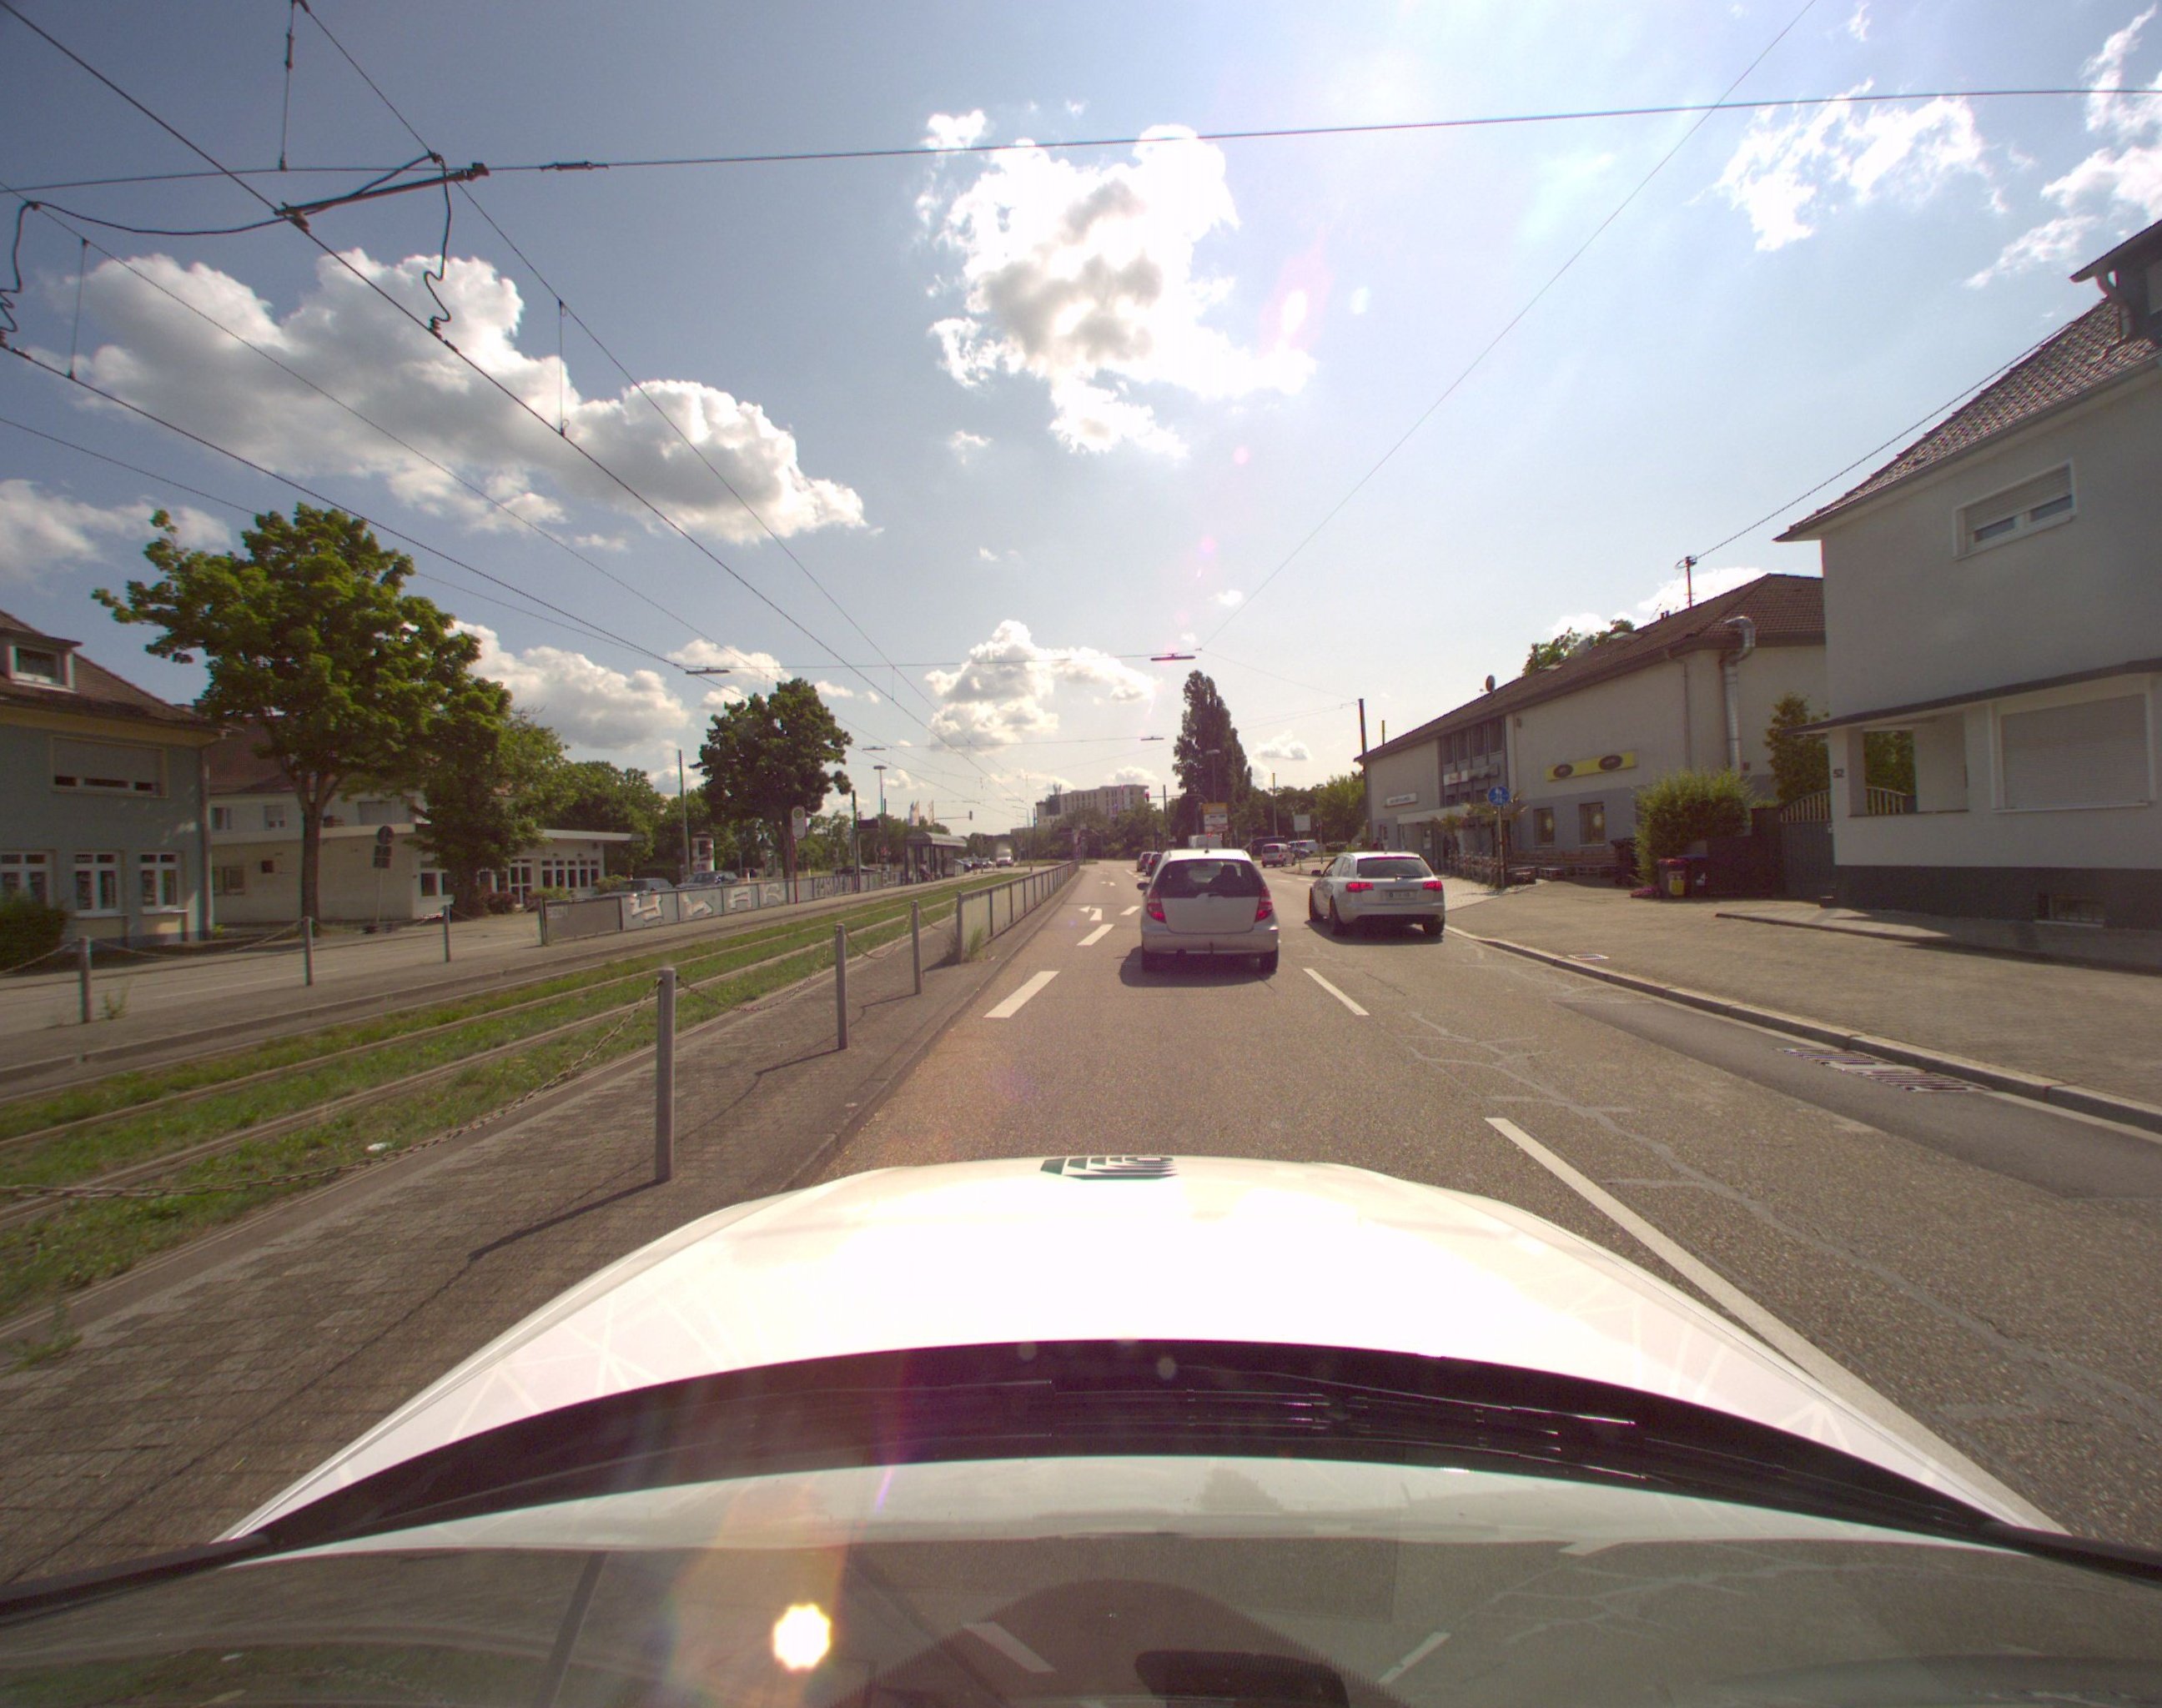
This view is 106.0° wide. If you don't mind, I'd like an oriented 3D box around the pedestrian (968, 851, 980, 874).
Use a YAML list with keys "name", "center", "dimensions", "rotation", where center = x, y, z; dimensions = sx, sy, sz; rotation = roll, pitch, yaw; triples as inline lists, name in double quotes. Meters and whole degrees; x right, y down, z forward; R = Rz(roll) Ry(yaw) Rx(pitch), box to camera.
- name: "pedestrian"
  center: [-8.629, 0.699, 65.639]
  dimensions: [0.805, 1.795, 0.708]
  rotation: [-2, 0, -1]

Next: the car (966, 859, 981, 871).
- name: "car"
  center: [-15.905, 1.587, 121.123]
  dimensions: [1.858, 1.651, 3.996]
  rotation: [-1, 0, -3]

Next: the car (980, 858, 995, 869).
- name: "car"
  center: [-13.781, 1.435, 120.505]
  dimensions: [1.797, 1.541, 4.160]
  rotation: [-1, 0, -2]

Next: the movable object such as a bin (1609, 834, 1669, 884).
- name: "movable object such as a bin"
  center: [15.627, 0.127, 22.825]
  dimensions: [1.077, 1.332, 0.888]
  rotation: [-3, 2, 3]

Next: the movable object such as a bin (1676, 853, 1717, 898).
- name: "movable object such as a bin"
  center: [13.230, 0.446, 17.514]
  dimensions: [0.440, 0.935, 0.549]
  rotation: [-3, 0, -3]

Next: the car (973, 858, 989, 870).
- name: "car"
  center: [-13.705, 1.373, 112.031]
  dimensions: [1.892, 1.541, 3.726]
  rotation: [-1, 0, -2]

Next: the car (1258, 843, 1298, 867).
- name: "car"
  center: [15.433, 0.056, 63.710]
  dimensions: [1.867, 1.731, 4.120]
  rotation: [-4, -2, 30]

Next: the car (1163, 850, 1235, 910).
- name: "car"
  center: [3.262, 0.662, 23.236]
  dimensions: [1.731, 1.492, 4.636]
  rotation: [-2, 0, 5]

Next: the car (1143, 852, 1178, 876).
- name: "car"
  center: [4.974, 0.604, 51.460]
  dimensions: [1.863, 1.419, 4.101]
  rotation: [-1, 0, 1]

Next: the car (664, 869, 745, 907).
- name: "car"
  center: [-18.639, 1.617, 40.566]
  dimensions: [2.056, 1.614, 4.746]
  rotation: [-3, 0, -4]

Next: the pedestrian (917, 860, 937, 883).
- name: "pedestrian"
  center: [-9.489, 1.064, 50.189]
  dimensions: [1.055, 1.376, 0.860]
  rotation: [-1, -1, 1]

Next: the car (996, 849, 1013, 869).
- name: "car"
  center: [-10.555, 0.681, 112.678]
  dimensions: [1.988, 2.606, 4.876]
  rotation: [-1, 0, -1]

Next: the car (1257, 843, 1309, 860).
- name: "car"
  center: [20.198, -0.251, 81.625]
  dimensions: [4.840, 1.660, 2.002]
  rotation: [-1, 0, 4]

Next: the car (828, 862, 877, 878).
- name: "car"
  center: [-23.522, 1.653, 83.879]
  dimensions: [4.439, 1.514, 2.002]
  rotation: [-1, 0, 4]

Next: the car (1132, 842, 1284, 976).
- name: "car"
  center: [1.781, 0.667, 11.980]
  dimensions: [1.778, 1.577, 4.102]
  rotation: [-2, 0, 6]

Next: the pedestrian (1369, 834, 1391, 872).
- name: "pedestrian"
  center: [14.669, -0.052, 40.014]
  dimensions: [0.718, 1.782, 0.703]
  rotation: [-5, 0, 3]

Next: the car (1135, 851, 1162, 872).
- name: "car"
  center: [5.098, 0.530, 61.931]
  dimensions: [1.738, 1.499, 4.381]
  rotation: [-1, 0, 1]

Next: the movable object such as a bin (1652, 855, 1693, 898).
- name: "movable object such as a bin"
  center: [12.729, 0.475, 17.522]
  dimensions: [0.443, 0.895, 0.545]
  rotation: [-3, 0, -3]

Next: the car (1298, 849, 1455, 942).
- name: "car"
  center: [5.422, 0.672, 15.578]
  dimensions: [1.844, 1.492, 4.545]
  rotation: [-2, 0, 7]

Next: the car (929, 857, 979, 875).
- name: "car"
  center: [-13.091, 1.217, 84.129]
  dimensions: [4.651, 1.549, 2.004]
  rotation: [-3, 0, 6]

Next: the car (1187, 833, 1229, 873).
- name: "car"
  center: [8.706, -0.097, 56.258]
  dimensions: [2.034, 2.557, 5.232]
  rotation: [-2, 0, 1]

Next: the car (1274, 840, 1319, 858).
- name: "car"
  center: [24.634, -0.542, 93.297]
  dimensions: [4.660, 1.936, 2.001]
  rotation: [-2, 0, 1]

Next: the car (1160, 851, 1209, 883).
- name: "car"
  center: [5.032, 0.589, 40.205]
  dimensions: [1.880, 1.448, 4.829]
  rotation: [-1, 0, 1]

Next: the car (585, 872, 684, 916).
- name: "car"
  center: [-18.700, 1.637, 34.330]
  dimensions: [1.779, 1.584, 3.934]
  rotation: [-2, 0, 3]
